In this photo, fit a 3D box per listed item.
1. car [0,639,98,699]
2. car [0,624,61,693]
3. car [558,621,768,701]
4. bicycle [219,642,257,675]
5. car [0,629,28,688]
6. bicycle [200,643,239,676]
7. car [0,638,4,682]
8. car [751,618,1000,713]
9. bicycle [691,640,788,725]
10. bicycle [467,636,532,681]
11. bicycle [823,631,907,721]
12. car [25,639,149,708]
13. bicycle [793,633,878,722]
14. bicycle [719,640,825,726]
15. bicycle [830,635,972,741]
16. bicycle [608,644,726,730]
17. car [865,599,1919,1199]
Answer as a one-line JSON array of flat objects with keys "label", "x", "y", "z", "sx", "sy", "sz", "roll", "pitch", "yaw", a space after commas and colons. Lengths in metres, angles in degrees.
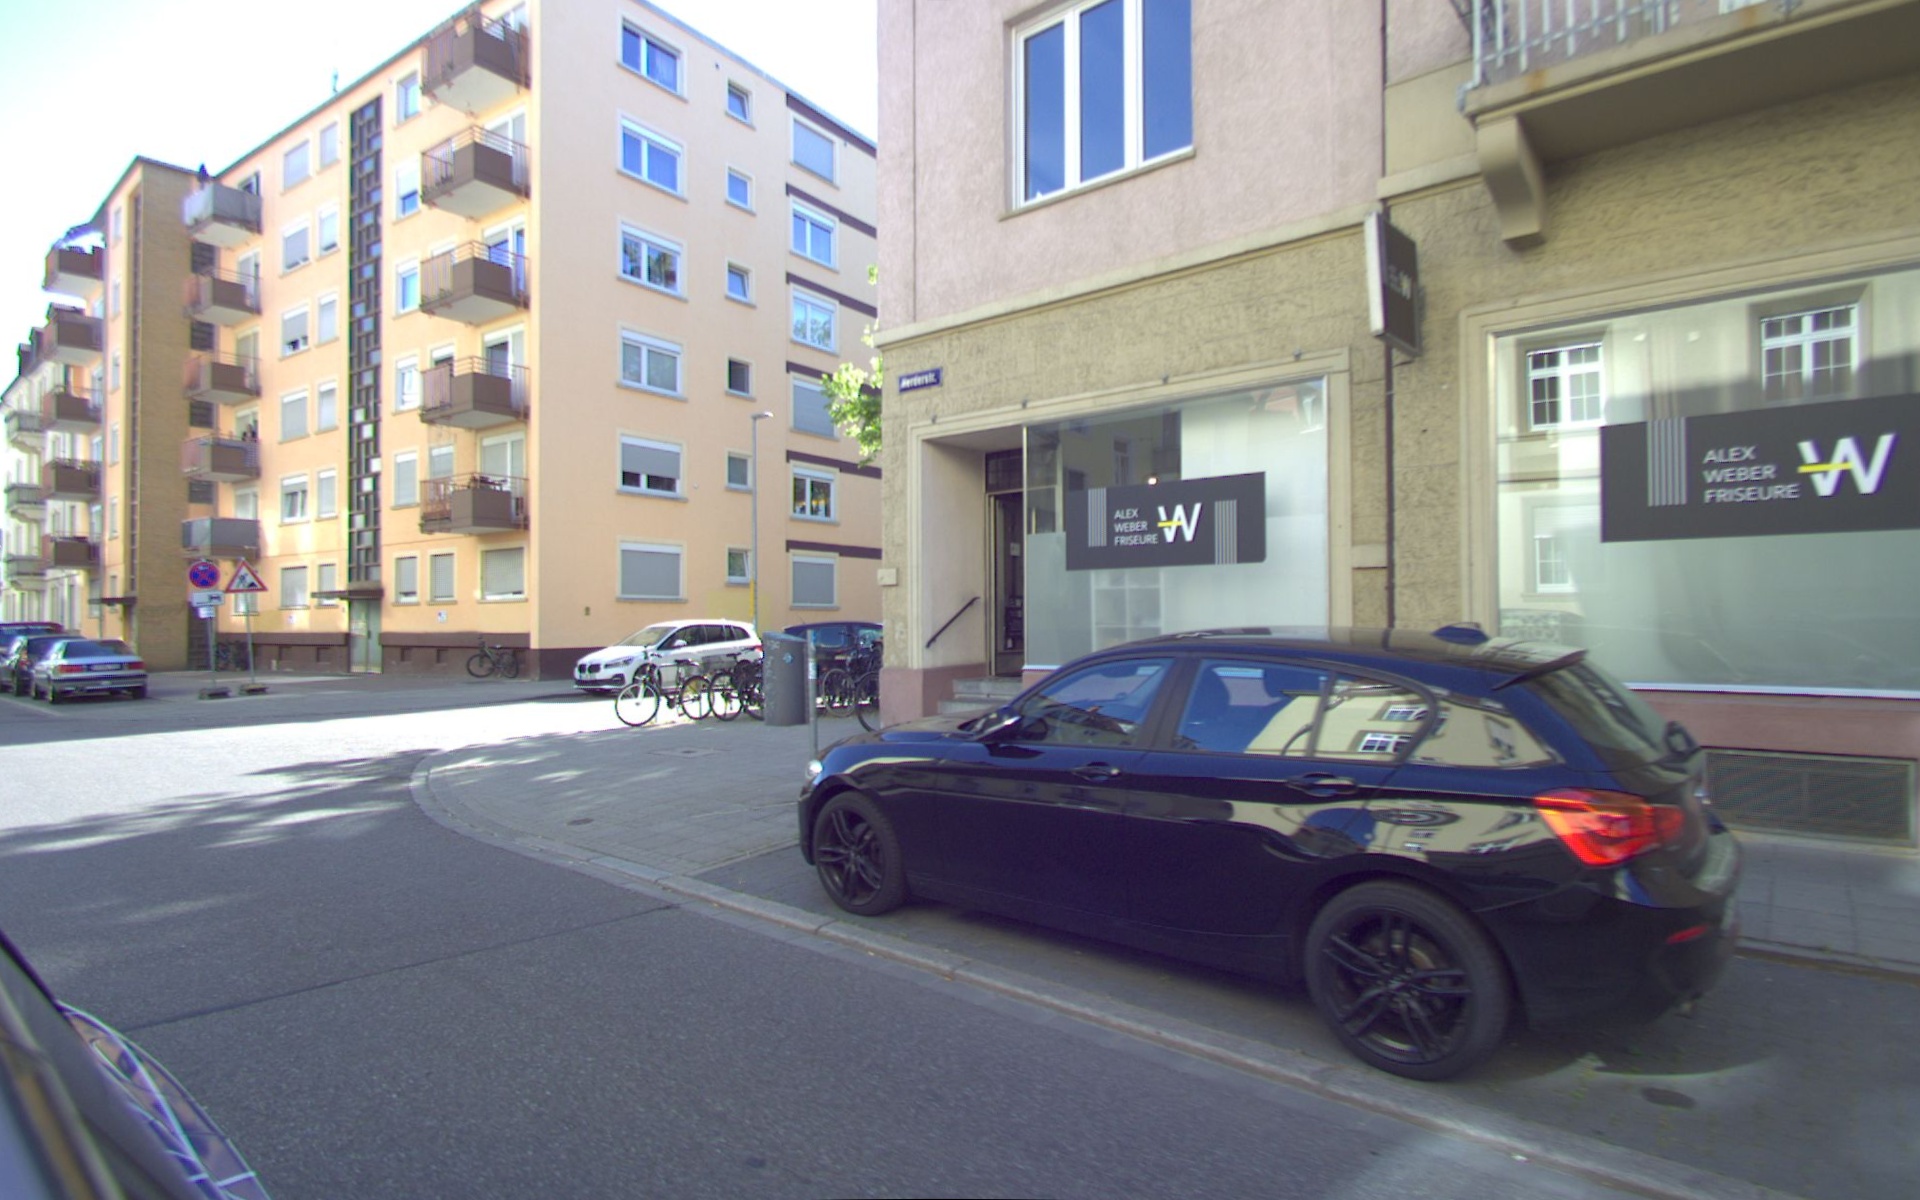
[{"label": "car", "x": -23.753, "y": 1.752, "z": 26.239, "sx": 3.284, "sy": 1.433, "sz": 1.657, "roll": -2, "pitch": -2, "yaw": 41}, {"label": "car", "x": -28.070, "y": 1.702, "z": 29.878, "sx": 4.109, "sy": 1.892, "sz": 1.799, "roll": -2, "pitch": -2, "yaw": 41}, {"label": "car", "x": -6.474, "y": 1.283, "z": 22.499, "sx": 1.776, "sy": 1.572, "sz": 4.405, "roll": -2, "pitch": -2, "yaw": 33}, {"label": "bicycle", "x": -25.033, "y": 2.021, "z": 35.071, "sx": 1.801, "sy": 1.116, "sz": 0.488, "roll": -2, "pitch": -2, "yaw": 35}, {"label": "car", "x": -32.589, "y": 1.946, "z": 33.745, "sx": 4.109, "sy": 1.892, "sz": 1.799, "roll": -2, "pitch": -2, "yaw": 41}, {"label": "bicycle", "x": -25.324, "y": 2.022, "z": 34.601, "sx": 1.801, "sy": 1.116, "sz": 0.488, "roll": -2, "pitch": -2, "yaw": 35}, {"label": "car", "x": -37.310, "y": 2.254, "z": 37.920, "sx": 3.810, "sy": 1.611, "sz": 1.799, "roll": -2, "pitch": -2, "yaw": 41}, {"label": "car", "x": -1.359, "y": 1.078, "z": 17.023, "sx": 3.944, "sy": 1.395, "sz": 1.709, "roll": -2, "pitch": -2, "yaw": 1}, {"label": "bicycle", "x": -3.232, "y": 1.182, "z": 14.947, "sx": 0.433, "sy": 1.156, "sz": 1.648, "roll": -2, "pitch": -2, "yaw": 28}, {"label": "bicycle", "x": -11.709, "y": 1.475, "z": 25.727, "sx": 1.801, "sy": 1.116, "sz": 0.680, "roll": -2, "pitch": -2, "yaw": 35}, {"label": "bicycle", "x": -1.364, "y": 1.072, "z": 14.746, "sx": 0.434, "sy": 1.223, "sz": 1.486, "roll": -2, "pitch": -2, "yaw": 30}, {"label": "car", "x": -19.905, "y": 1.621, "z": 23.032, "sx": 3.498, "sy": 1.433, "sz": 1.657, "roll": -2, "pitch": -2, "yaw": 41}, {"label": "bicycle", "x": -1.823, "y": 1.112, "z": 14.947, "sx": 0.434, "sy": 1.223, "sz": 1.486, "roll": -2, "pitch": -2, "yaw": 30}, {"label": "bicycle", "x": -2.715, "y": 1.174, "z": 14.819, "sx": 0.434, "sy": 1.156, "sz": 1.842, "roll": -2, "pitch": -2, "yaw": 30}, {"label": "bicycle", "x": -0.678, "y": 1.006, "z": 12.126, "sx": 0.694, "sy": 1.144, "sz": 1.788, "roll": -2, "pitch": -2, "yaw": 37}, {"label": "bicycle", "x": -4.266, "y": 1.236, "z": 14.835, "sx": 0.592, "sy": 1.156, "sz": 1.644, "roll": -2, "pitch": -2, "yaw": 35}, {"label": "car", "x": 1.575, "y": 0.790, "z": 4.249, "sx": 3.863, "sy": 1.396, "sz": 1.697, "roll": -2, "pitch": 1, "yaw": 41}]
